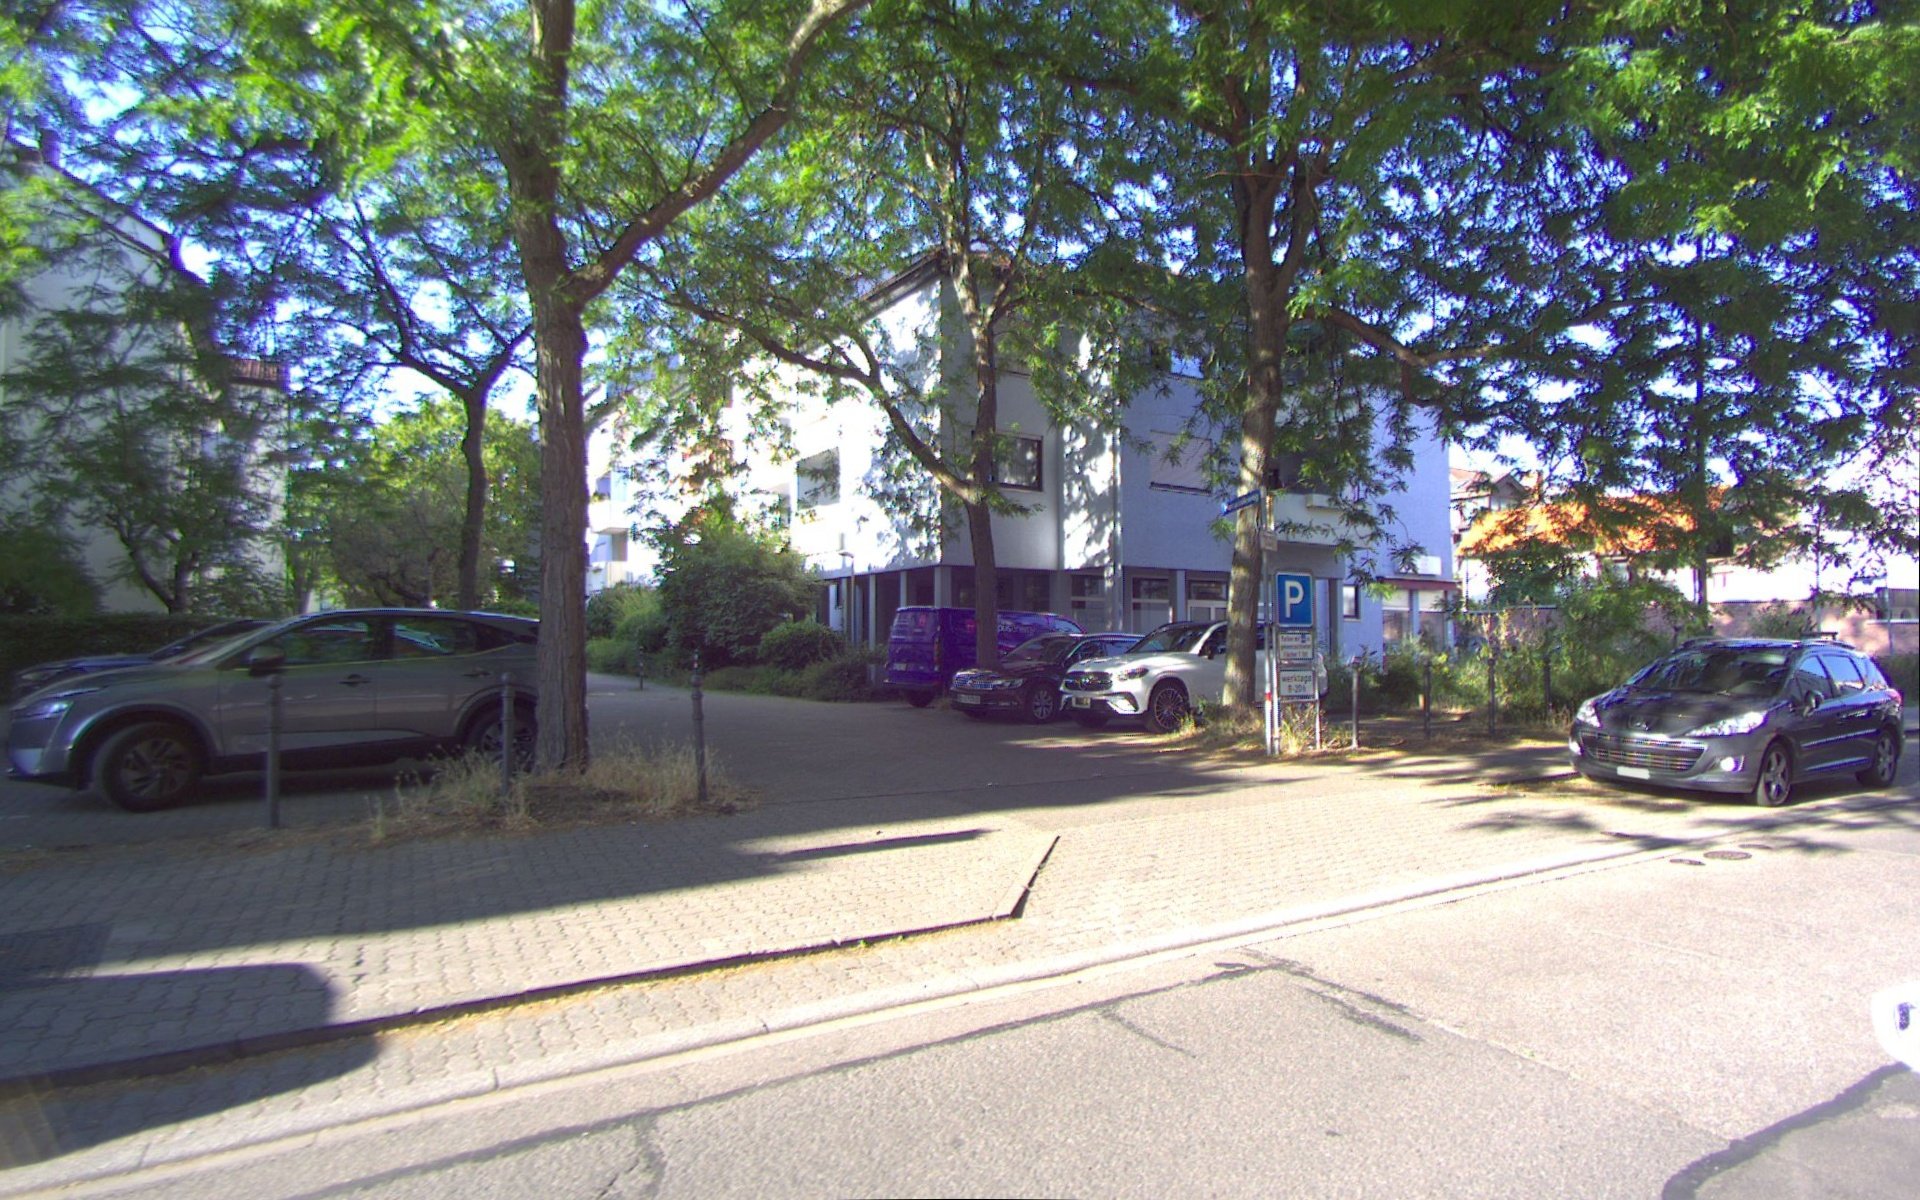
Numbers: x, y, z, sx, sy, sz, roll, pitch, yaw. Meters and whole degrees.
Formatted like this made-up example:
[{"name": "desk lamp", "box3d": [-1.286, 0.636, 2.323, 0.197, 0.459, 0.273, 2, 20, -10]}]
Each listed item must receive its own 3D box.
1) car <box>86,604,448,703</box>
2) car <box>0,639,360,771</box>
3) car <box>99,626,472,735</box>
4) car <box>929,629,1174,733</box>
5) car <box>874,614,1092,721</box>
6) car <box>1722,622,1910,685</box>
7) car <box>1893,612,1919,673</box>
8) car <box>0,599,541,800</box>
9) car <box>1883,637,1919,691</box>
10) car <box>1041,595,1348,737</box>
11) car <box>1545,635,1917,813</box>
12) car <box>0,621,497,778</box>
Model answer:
[{"name": "car", "box3d": [-12.181, 0.964, 18.170, 5.126, 1.580, 1.930, 1, -5, -30]}, {"name": "car", "box3d": [-9.795, 1.228, 12.613, 3.765, 1.459, 1.679, 1, -3, -28]}, {"name": "car", "box3d": [-10.745, 1.219, 16.429, 4.780, 1.495, 1.982, 1, 0, -33]}, {"name": "car", "box3d": [1.592, 1.306, 17.338, 3.767, 1.596, 2.063, 1, -2, -32]}, {"name": "car", "box3d": [0.543, 1.319, 20.709, 4.290, 1.974, 2.000, 2, -3, -41]}, {"name": "car", "box3d": [27.191, 1.752, 32.056, 1.974, 1.518, 3.978, -3, -7, -27]}, {"name": "car", "box3d": [31.978, 1.399, 30.942, 1.961, 1.819, 4.348, -2, 2, -26]}, {"name": "car", "box3d": [-5.635, 0.770, 8.684, 3.594, 1.426, 1.515, 1, -3, -28]}, {"name": "car", "box3d": [29.093, 1.808, 28.541, 1.974, 1.550, 3.755, 0, -3, -27]}, {"name": "car", "box3d": [3.744, 0.940, 15.708, 4.853, 1.920, 1.833, 1, -2, -33]}, {"name": "car", "box3d": [8.043, 1.133, 10.420, 3.953, 1.511, 1.689, 1, -2, -30]}, {"name": "car", "box3d": [-7.695, 0.999, 11.203, 4.390, 1.460, 1.565, 2, -3, -36]}]
